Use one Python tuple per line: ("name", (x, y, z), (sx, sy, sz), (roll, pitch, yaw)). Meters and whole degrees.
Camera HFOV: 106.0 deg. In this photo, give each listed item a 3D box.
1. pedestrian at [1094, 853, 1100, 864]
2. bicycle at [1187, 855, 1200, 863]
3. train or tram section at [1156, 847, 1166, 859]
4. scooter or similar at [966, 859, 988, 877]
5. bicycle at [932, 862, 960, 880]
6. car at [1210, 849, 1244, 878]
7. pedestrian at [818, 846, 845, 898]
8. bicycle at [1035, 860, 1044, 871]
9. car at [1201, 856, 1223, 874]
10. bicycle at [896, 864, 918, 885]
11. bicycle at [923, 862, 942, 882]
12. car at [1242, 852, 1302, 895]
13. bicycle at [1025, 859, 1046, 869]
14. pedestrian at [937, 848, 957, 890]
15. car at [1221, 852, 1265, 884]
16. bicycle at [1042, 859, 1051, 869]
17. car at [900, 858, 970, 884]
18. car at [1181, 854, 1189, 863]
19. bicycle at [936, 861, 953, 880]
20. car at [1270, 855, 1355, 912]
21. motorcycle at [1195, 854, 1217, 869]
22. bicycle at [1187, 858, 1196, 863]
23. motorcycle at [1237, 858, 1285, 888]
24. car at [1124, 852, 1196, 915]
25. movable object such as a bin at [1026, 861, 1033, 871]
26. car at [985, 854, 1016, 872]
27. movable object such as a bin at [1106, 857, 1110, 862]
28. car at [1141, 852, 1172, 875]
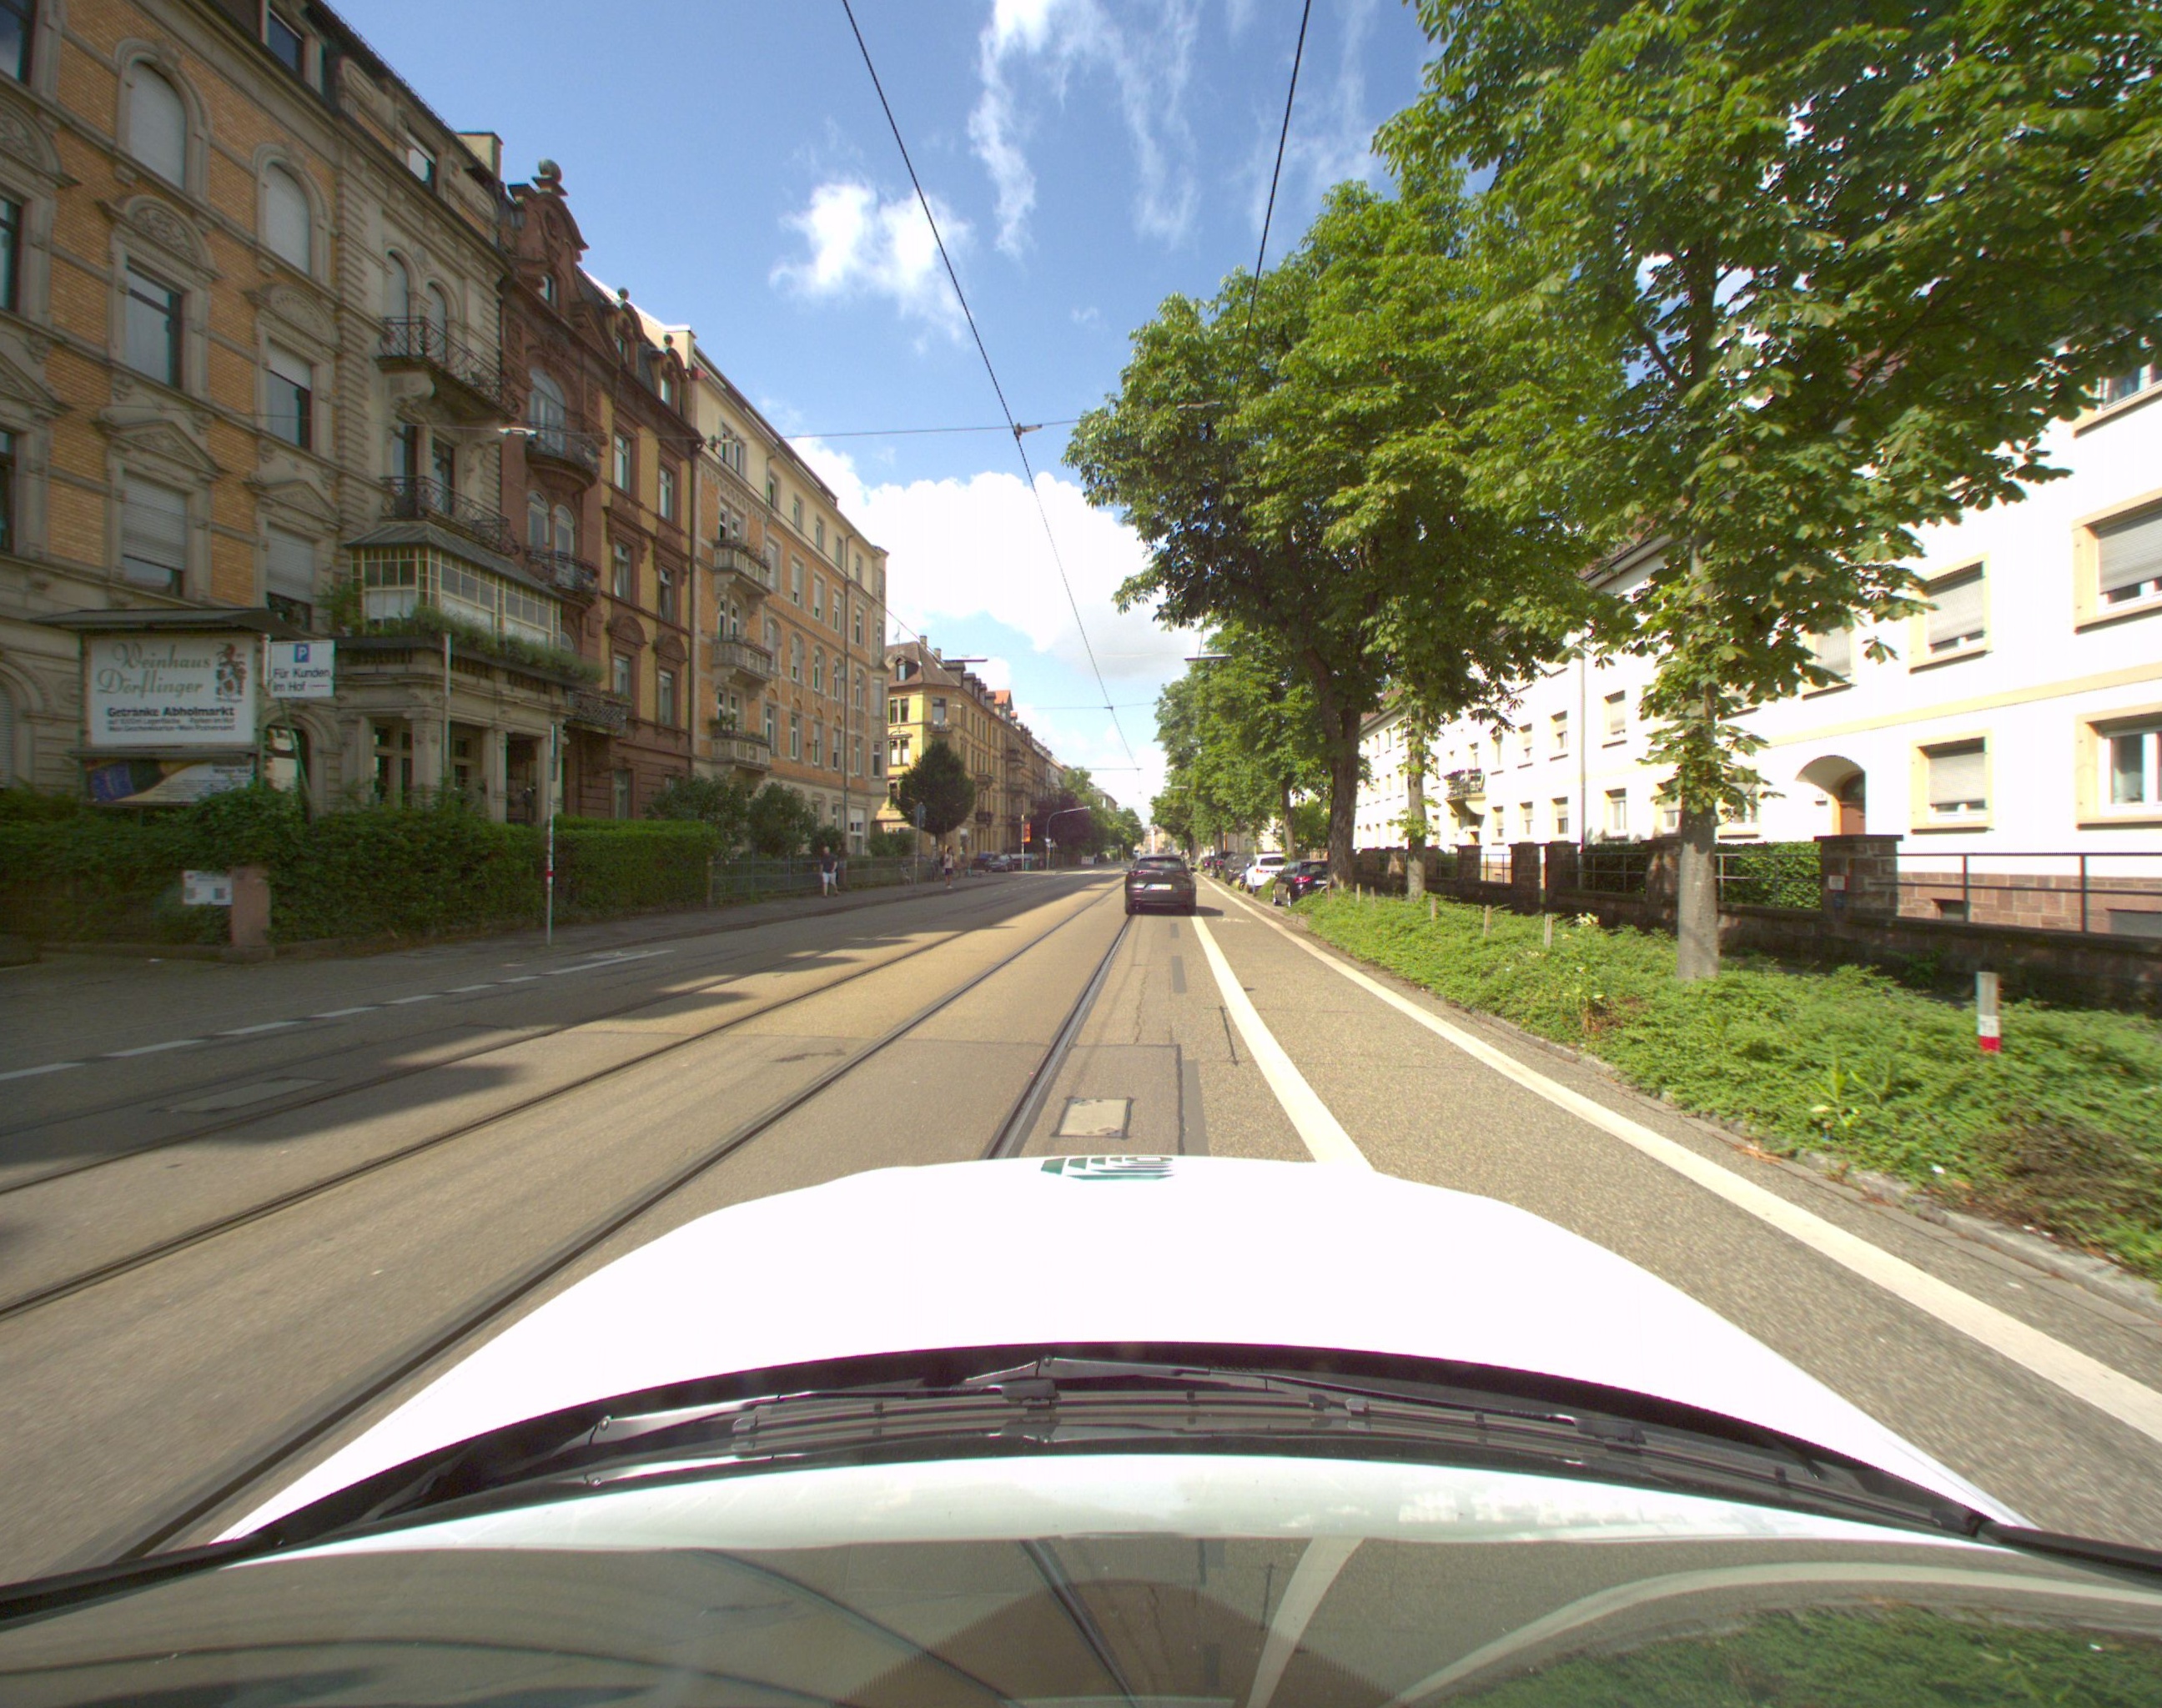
("pedestrian", (2.484, 0.656, 128.093), (0.819, 1.706, 0.892), (0, -1, 3))
("bicycle", (17.091, 0.778, 123.628), (1.921, 1.176, 0.515), (-1, -1, 17))
("train or tram section", (24.494, -0.329, 249.042), (2.561, 3.772, 13.037), (0, 0, 3))
("scooter or similar", (-6.945, 0.939, 54.221), (1.367, 1.235, 0.401), (1, -1, -23))
("bicycle", (-7.507, 0.923, 45.345), (1.445, 0.976, 0.405), (-1, 0, 5))
("car", (9.424, 0.609, 52.848), (1.818, 1.782, 4.741), (-1, 0, 6))
("pedestrian", (-8.281, 0.578, 27.051), (0.485, 1.703, 1.152), (0, 0, 4))
("bicycle", (-3.787, 1.051, 75.294), (0.527, 0.946, 1.971), (0, 0, 6))
("car", (11.651, 0.967, 72.653), (1.698, 1.479, 4.203), (2, 0, 6))
("bicycle", (-7.906, 0.926, 37.081), (0.419, 0.932, 1.952), (0, 0, 5))
("bicycle", (-7.519, 0.903, 41.241), (0.419, 0.976, 1.952), (0, 0, 5))
("car", (7.477, 0.729, 32.172), (1.733, 1.581, 4.255), (0, 0, 5))
("bicycle", (-4.387, 0.979, 77.851), (1.954, 0.946, 0.532), (0, 0, 1))
("pedestrian", (-5.811, 0.650, 35.316), (0.530, 1.760, 1.107), (2, 0, 6))
("car", (8.569, 0.712, 43.499), (1.853, 1.653, 4.645), (0, 0, 6))
("bicycle", (-3.343, 0.958, 79.142), (0.527, 0.946, 1.971), (0, 0, 6))
("car", (-8.448, 0.965, 47.393), (3.581, 1.403, 1.792), (0, 0, 10))
("car", (23.794, 0.990, 186.360), (1.711, 1.968, 4.215), (0, 0, 7))
("bicycle", (-7.299, 0.899, 43.721), (0.419, 0.976, 1.952), (0, 0, 5))
("car", (6.646, 0.786, 23.790), (1.652, 1.521, 4.294), (0, 0, 5))
("motorcycle", (13.493, 0.812, 88.155), (2.358, 1.597, 0.683), (2, 1, 45))
("bicycle", (18.639, 1.104, 137.741), (1.483, 0.983, 0.259), (-1, -1, 8))
("motorcycle", (8.107, 0.846, 36.730), (1.999, 1.337, 0.748), (0, 0, 2))
("car", (2.087, 0.714, 21.416), (1.712, 1.526, 3.595), (0, 0, 6))
("movable object such as a bin", (-4.526, 1.047, 71.315), (0.522, 0.906, 0.637), (-1, 0, 4))
("car", (-6.782, 0.776, 69.238), (1.677, 1.459, 4.772), (-1, 0, 6))
("movable object such as a bin", (5.325, 1.131, 159.845), (0.741, 0.988, 1.116), (2, 0, 6))
("car", (5.300, 0.651, 56.905), (1.984, 1.529, 4.006), (2, 0, 6))
